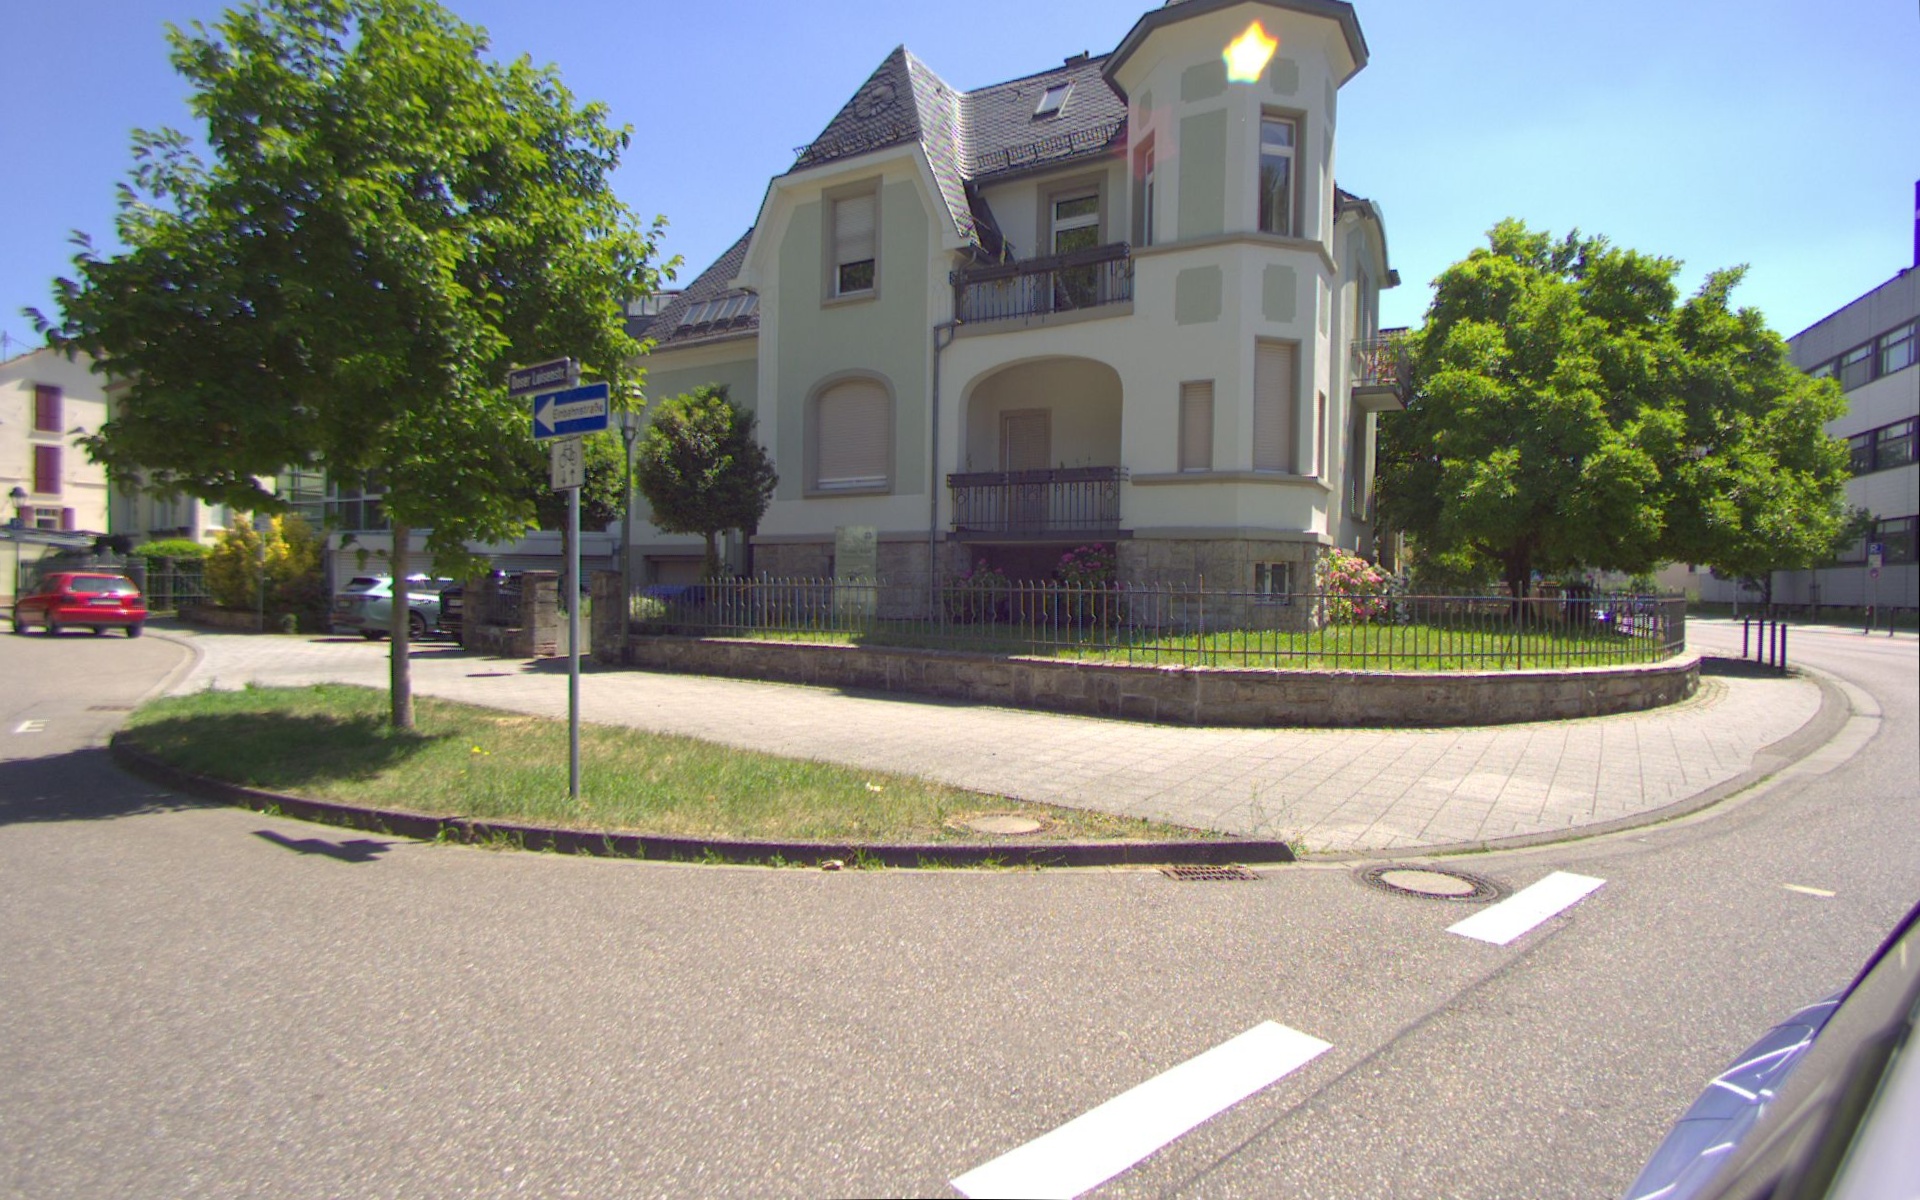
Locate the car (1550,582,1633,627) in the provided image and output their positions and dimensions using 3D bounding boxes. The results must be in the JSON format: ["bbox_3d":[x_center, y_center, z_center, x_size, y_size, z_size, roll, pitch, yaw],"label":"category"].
[{"bbox_3d":[23.437,0.118,37.702,1.753,1.560,3.974,2,1,20],"label":"car"}]

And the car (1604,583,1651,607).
[{"bbox_3d":[43.941,-0.351,66.709,1.725,1.521,3.710,0,1,20],"label":"car"}]

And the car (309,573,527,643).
[{"bbox_3d":[-12.271,0.113,23.101,1.988,1.408,3.949,2,2,36],"label":"car"}]

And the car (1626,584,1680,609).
[{"bbox_3d":[42.114,-0.217,61.590,1.715,1.467,4.004,0,1,20],"label":"car"}]

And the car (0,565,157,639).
[{"bbox_3d":[-20.279,0.023,23.104,3.967,1.544,1.734,1,-1,31],"label":"car"}]

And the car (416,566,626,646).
[{"bbox_3d":[-9.535,0.068,22.317,1.979,1.587,3.966,1,2,25],"label":"car"}]

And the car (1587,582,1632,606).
[{"bbox_3d":[45.647,-0.461,71.225,1.753,1.560,3.974,1,1,20],"label":"car"}]
